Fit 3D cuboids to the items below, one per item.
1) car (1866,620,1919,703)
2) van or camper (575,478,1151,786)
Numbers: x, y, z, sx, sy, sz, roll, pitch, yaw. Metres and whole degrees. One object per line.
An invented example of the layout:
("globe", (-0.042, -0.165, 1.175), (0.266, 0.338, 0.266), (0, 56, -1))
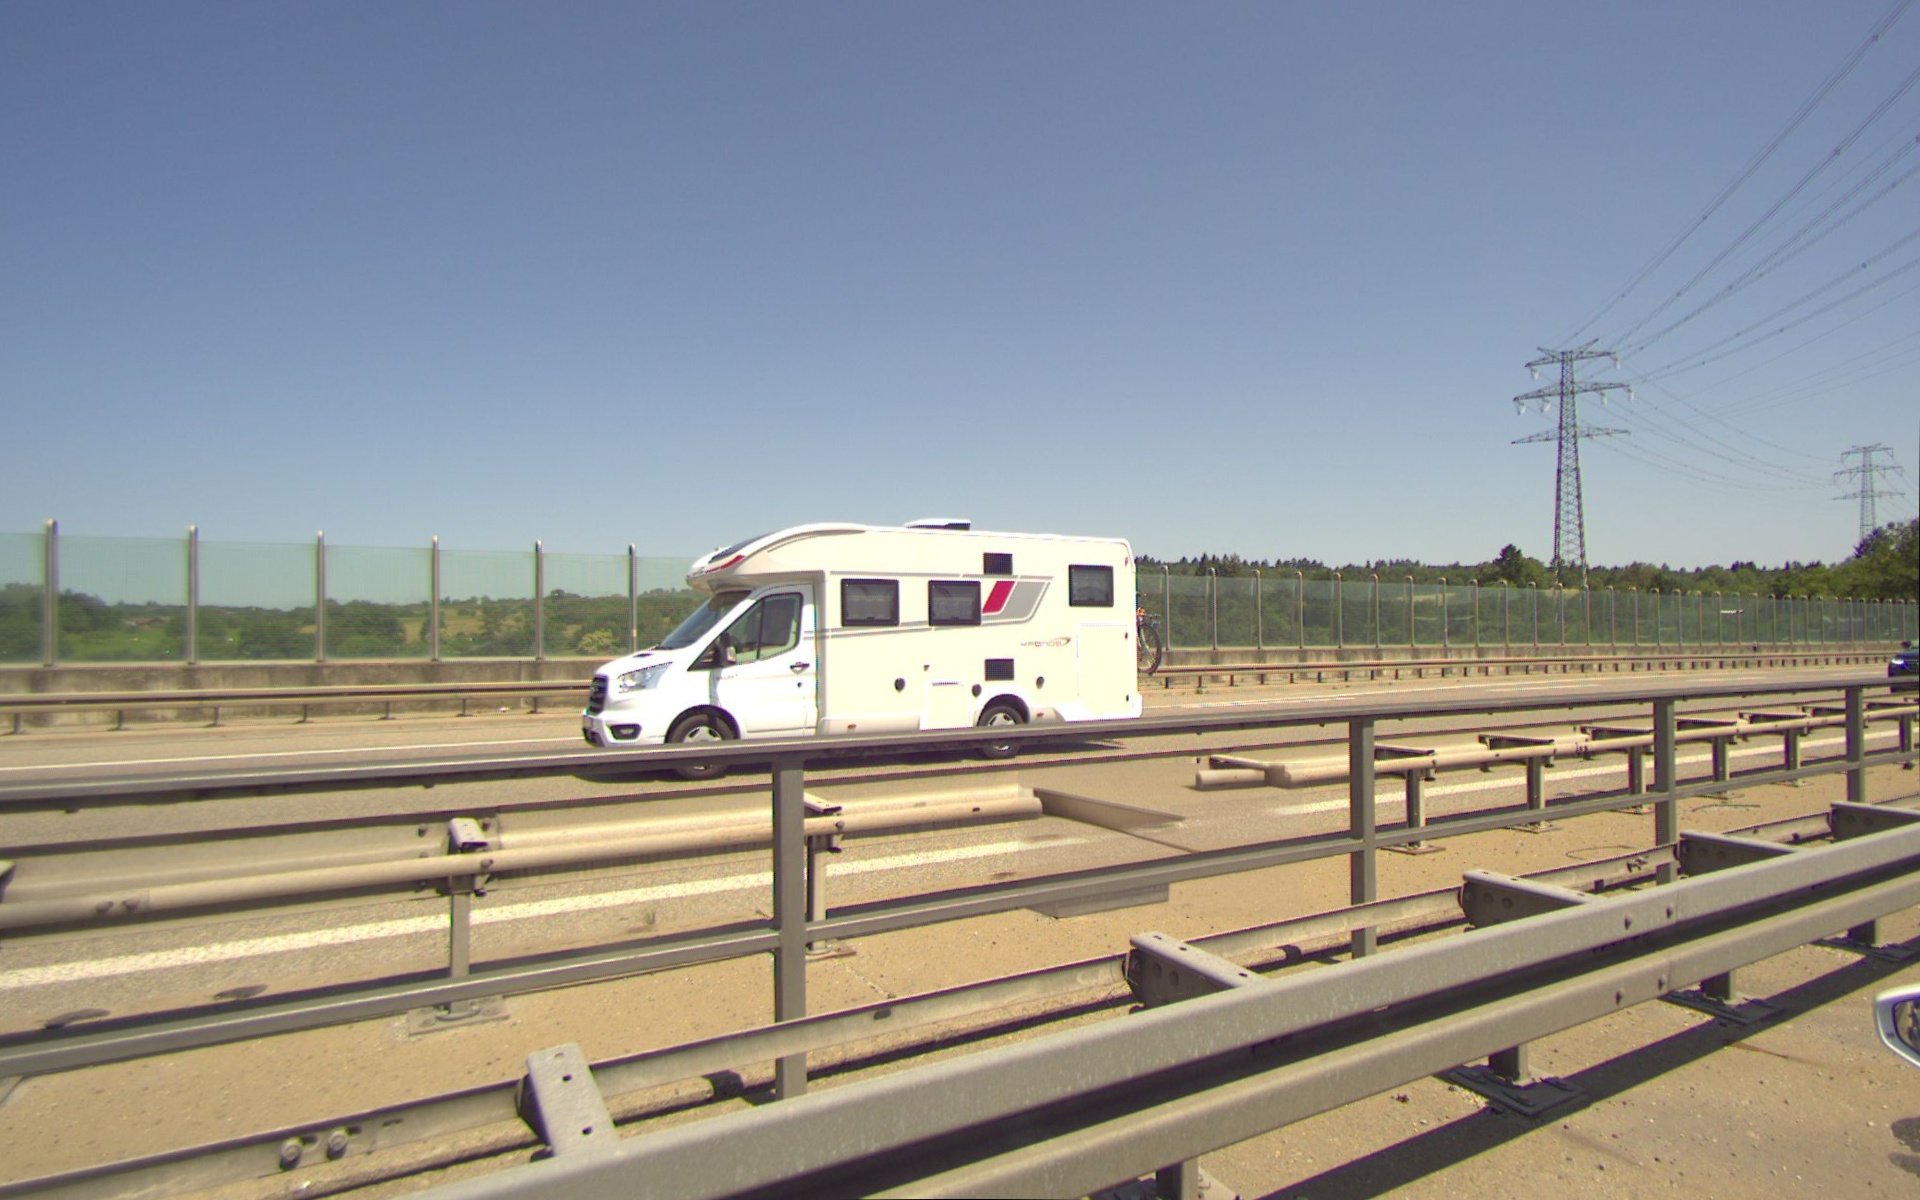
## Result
("car", (21.908, 1.304, 21.954), (4.379, 1.722, 1.858), (1, -3, -31))
("van or camper", (-1.038, 0.418, 12.786), (6.943, 3.063, 2.412), (1, -3, -30))
